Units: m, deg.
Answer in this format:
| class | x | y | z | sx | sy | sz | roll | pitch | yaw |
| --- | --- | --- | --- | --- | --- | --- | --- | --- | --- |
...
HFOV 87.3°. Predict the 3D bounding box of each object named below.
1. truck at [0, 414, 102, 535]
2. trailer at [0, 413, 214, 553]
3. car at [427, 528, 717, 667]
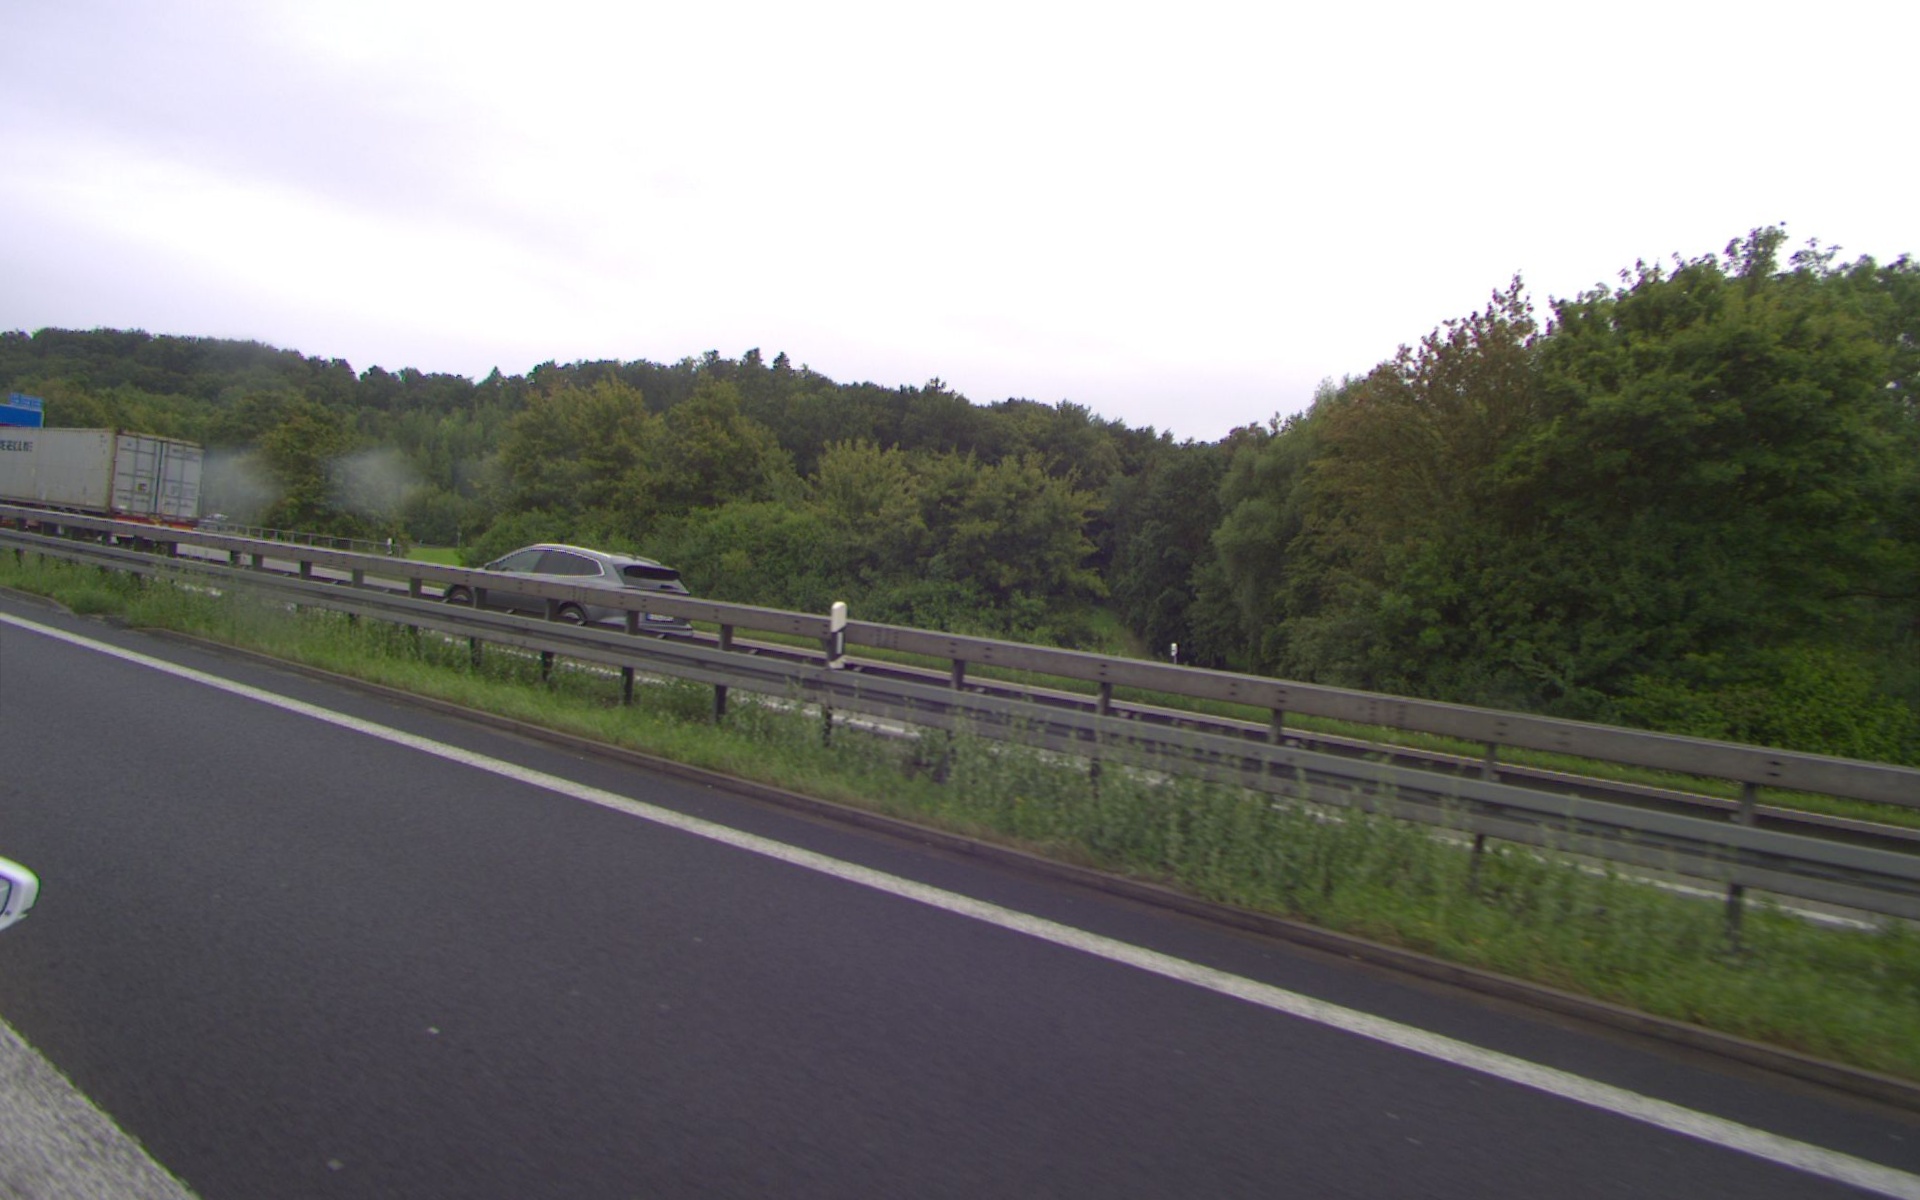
| class | x | y | z | sx | sy | sz | roll | pitch | yaw |
| --- | --- | --- | --- | --- | --- | --- | --- | --- | --- |
| truck | -35.827 | -4.818 | 38.376 | 6.286 | 3.931 | 2.620 | 6 | -1 | 32 |
| trailer | -30.372 | -4.177 | 34.910 | 12.284 | 3.941 | 2.608 | 6 | -1 | 32 |
| car | -6.219 | -0.070 | 15.960 | 4.567 | 1.629 | 1.772 | 6 | -1 | 32 |
